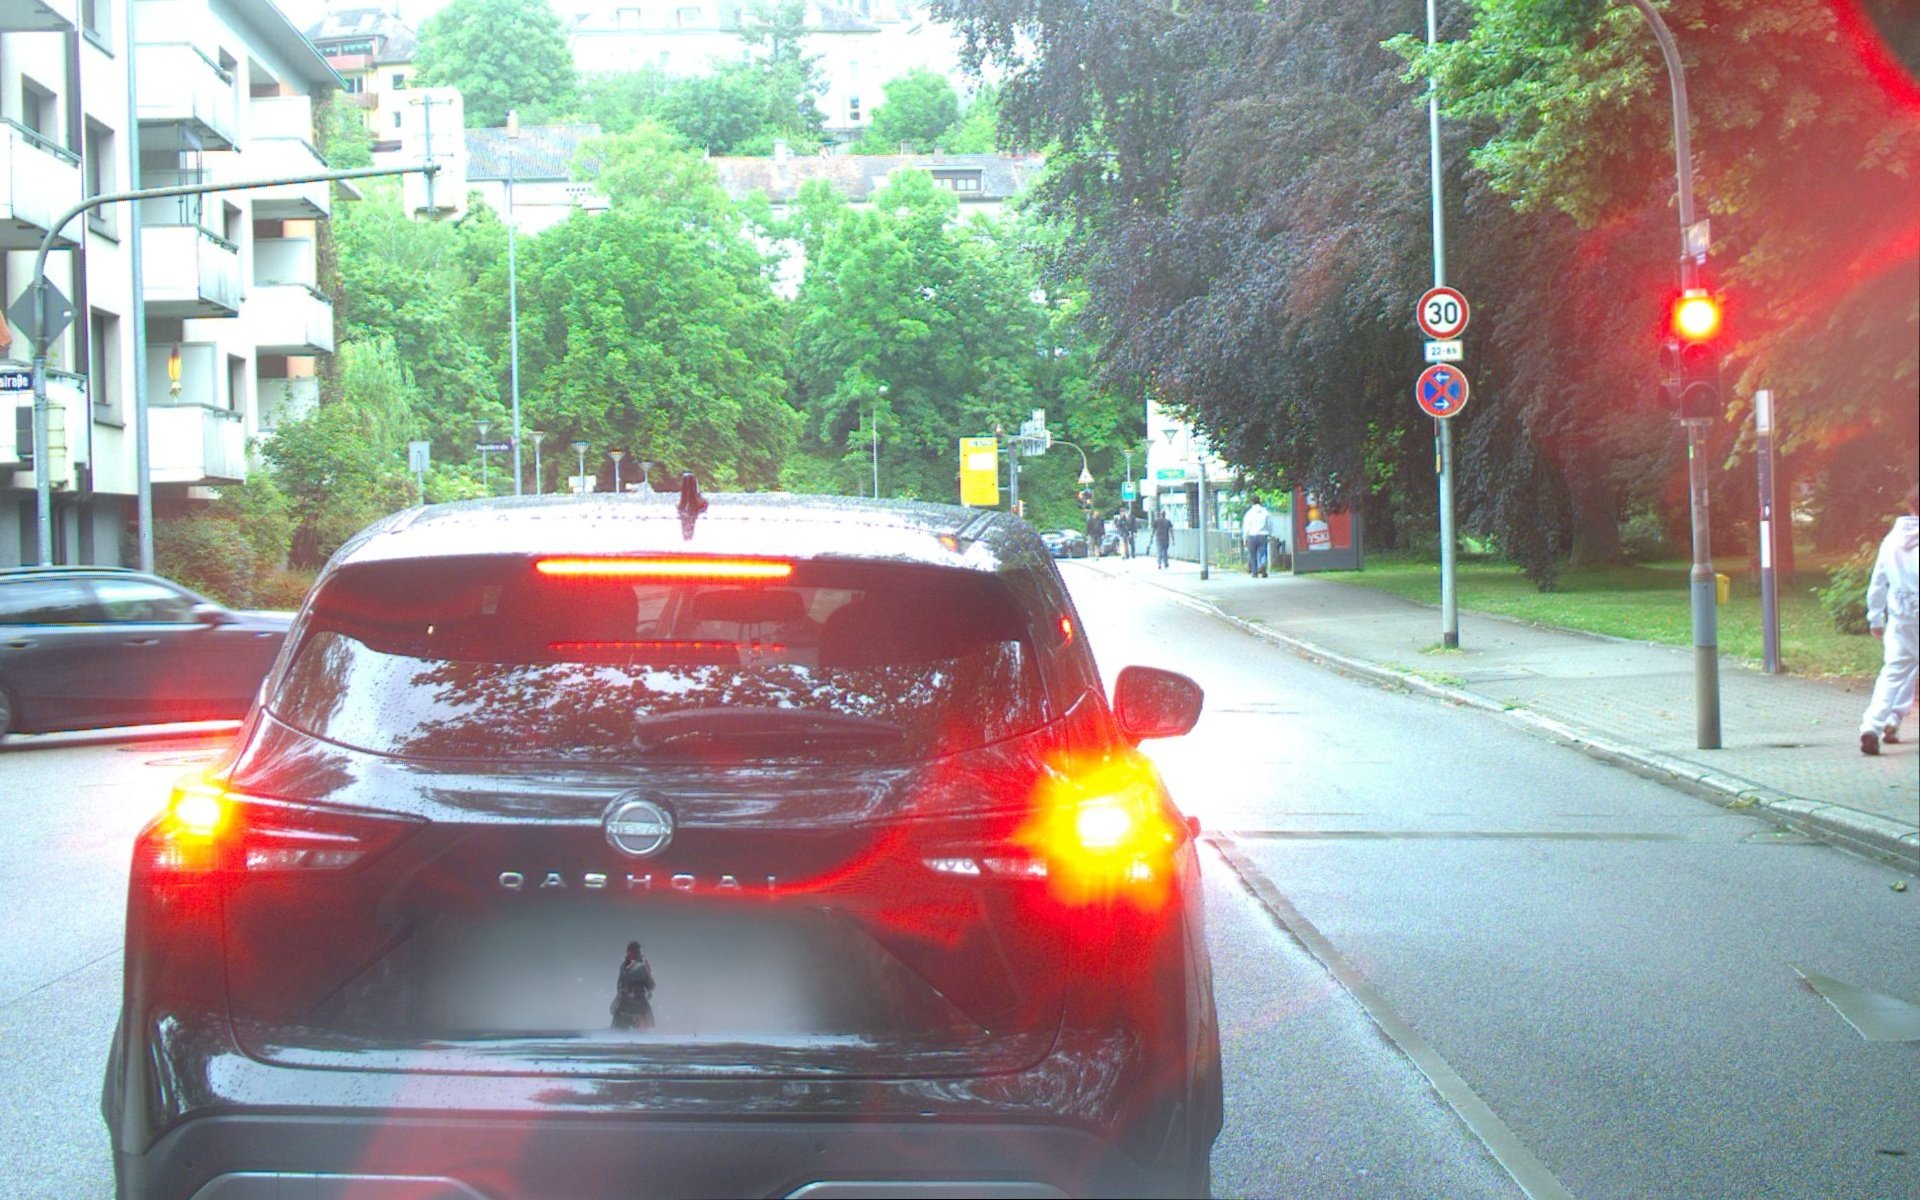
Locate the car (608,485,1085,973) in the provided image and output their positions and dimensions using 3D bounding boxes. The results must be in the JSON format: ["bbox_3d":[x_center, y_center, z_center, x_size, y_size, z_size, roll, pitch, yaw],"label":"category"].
[{"bbox_3d":[-0.437,0.439,14.497,1.698,1.739,3.641,-2,1,-1],"label":"car"}]

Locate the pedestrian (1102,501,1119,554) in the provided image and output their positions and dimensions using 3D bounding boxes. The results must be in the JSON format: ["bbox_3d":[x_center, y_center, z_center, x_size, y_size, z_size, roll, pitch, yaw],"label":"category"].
[{"bbox_3d":[5.094,-2.448,116.150,0.508,1.796,0.659,-2,1,4],"label":"pedestrian"}]

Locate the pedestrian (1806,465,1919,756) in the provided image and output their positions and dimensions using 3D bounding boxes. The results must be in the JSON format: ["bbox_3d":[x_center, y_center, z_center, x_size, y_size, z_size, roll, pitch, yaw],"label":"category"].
[{"bbox_3d":[6.303,0.046,22.830,1.035,1.869,0.658,-4,1,-11],"label":"pedestrian"}]

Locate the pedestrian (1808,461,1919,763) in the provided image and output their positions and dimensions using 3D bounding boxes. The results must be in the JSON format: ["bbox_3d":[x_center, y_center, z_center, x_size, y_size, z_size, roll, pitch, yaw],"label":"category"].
[{"bbox_3d":[6.131,0.052,22.078,1.035,1.869,0.658,-4,1,-11],"label":"pedestrian"}]

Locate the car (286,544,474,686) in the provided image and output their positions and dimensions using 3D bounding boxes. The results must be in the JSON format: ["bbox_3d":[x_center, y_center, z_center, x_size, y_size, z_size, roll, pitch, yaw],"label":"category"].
[{"bbox_3d":[-6.864,0.139,41.032,1.795,1.528,3.868,-2,1,-4],"label":"car"}]

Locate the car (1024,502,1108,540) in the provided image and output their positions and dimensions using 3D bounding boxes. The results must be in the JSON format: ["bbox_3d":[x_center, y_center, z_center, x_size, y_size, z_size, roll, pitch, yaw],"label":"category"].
[{"bbox_3d":[5.050,-3.737,162.898,1.998,1.729,3.991,1,1,37],"label":"car"}]

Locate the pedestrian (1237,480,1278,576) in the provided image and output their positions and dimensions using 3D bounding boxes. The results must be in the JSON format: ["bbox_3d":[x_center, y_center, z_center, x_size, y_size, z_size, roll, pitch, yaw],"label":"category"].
[{"bbox_3d":[6.382,-1.546,73.834,0.725,2.007,0.851,-2,1,0],"label":"pedestrian"}]

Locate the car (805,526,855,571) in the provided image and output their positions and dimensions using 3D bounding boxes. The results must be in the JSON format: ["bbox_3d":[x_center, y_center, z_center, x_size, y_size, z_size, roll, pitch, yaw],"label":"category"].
[{"bbox_3d":[-4.626,-1.850,122.910,1.634,1.527,3.968,-2,1,-1],"label":"car"}]

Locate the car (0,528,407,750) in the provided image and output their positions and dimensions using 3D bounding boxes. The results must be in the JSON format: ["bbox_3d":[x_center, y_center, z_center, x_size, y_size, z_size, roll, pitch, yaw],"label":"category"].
[{"bbox_3d":[-7.041,0.316,29.026,4.299,1.672,1.728,-3,1,-28],"label":"car"}]

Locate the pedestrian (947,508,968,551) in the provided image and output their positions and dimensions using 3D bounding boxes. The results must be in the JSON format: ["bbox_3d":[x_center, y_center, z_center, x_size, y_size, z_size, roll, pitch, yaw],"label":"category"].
[{"bbox_3d":[-0.101,-2.760,135.064,0.509,1.667,0.658,-2,1,27],"label":"pedestrian"}]

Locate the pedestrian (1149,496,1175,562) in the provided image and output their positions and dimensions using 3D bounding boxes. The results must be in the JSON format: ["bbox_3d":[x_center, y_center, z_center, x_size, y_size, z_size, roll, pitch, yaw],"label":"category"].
[{"bbox_3d":[5.610,-1.971,95.280,0.509,1.796,0.619,-2,1,20],"label":"pedestrian"}]

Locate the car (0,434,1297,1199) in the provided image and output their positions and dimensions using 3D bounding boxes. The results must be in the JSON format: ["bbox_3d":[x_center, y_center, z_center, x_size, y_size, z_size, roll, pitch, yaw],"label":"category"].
[{"bbox_3d":[-0.487,0.557,7.003,1.913,1.674,4.000,0,1,0],"label":"car"}]

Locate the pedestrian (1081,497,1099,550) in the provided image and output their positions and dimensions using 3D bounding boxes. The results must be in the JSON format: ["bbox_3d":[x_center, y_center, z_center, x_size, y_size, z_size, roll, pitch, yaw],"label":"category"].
[{"bbox_3d":[4.381,-2.585,116.219,0.508,1.796,0.619,-2,1,-1],"label":"pedestrian"}]

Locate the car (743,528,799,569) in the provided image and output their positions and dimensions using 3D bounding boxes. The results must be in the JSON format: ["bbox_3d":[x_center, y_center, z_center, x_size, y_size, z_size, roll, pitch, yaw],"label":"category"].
[{"bbox_3d":[-7.450,-2.052,135.823,1.970,1.527,3.968,-2,1,-1],"label":"car"}]

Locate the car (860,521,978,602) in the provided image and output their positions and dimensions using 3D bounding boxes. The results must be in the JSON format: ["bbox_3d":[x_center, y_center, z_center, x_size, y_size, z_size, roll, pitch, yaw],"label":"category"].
[{"bbox_3d":[-0.811,-0.736,64.721,1.825,1.399,4.651,-2,1,-5],"label":"car"}]

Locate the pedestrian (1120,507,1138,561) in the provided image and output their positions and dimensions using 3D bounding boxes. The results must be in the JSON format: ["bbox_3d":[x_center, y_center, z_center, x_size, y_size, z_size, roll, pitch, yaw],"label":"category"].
[{"bbox_3d":[5.686,-2.234,115.758,0.508,1.796,0.619,-2,1,-2],"label":"pedestrian"}]
